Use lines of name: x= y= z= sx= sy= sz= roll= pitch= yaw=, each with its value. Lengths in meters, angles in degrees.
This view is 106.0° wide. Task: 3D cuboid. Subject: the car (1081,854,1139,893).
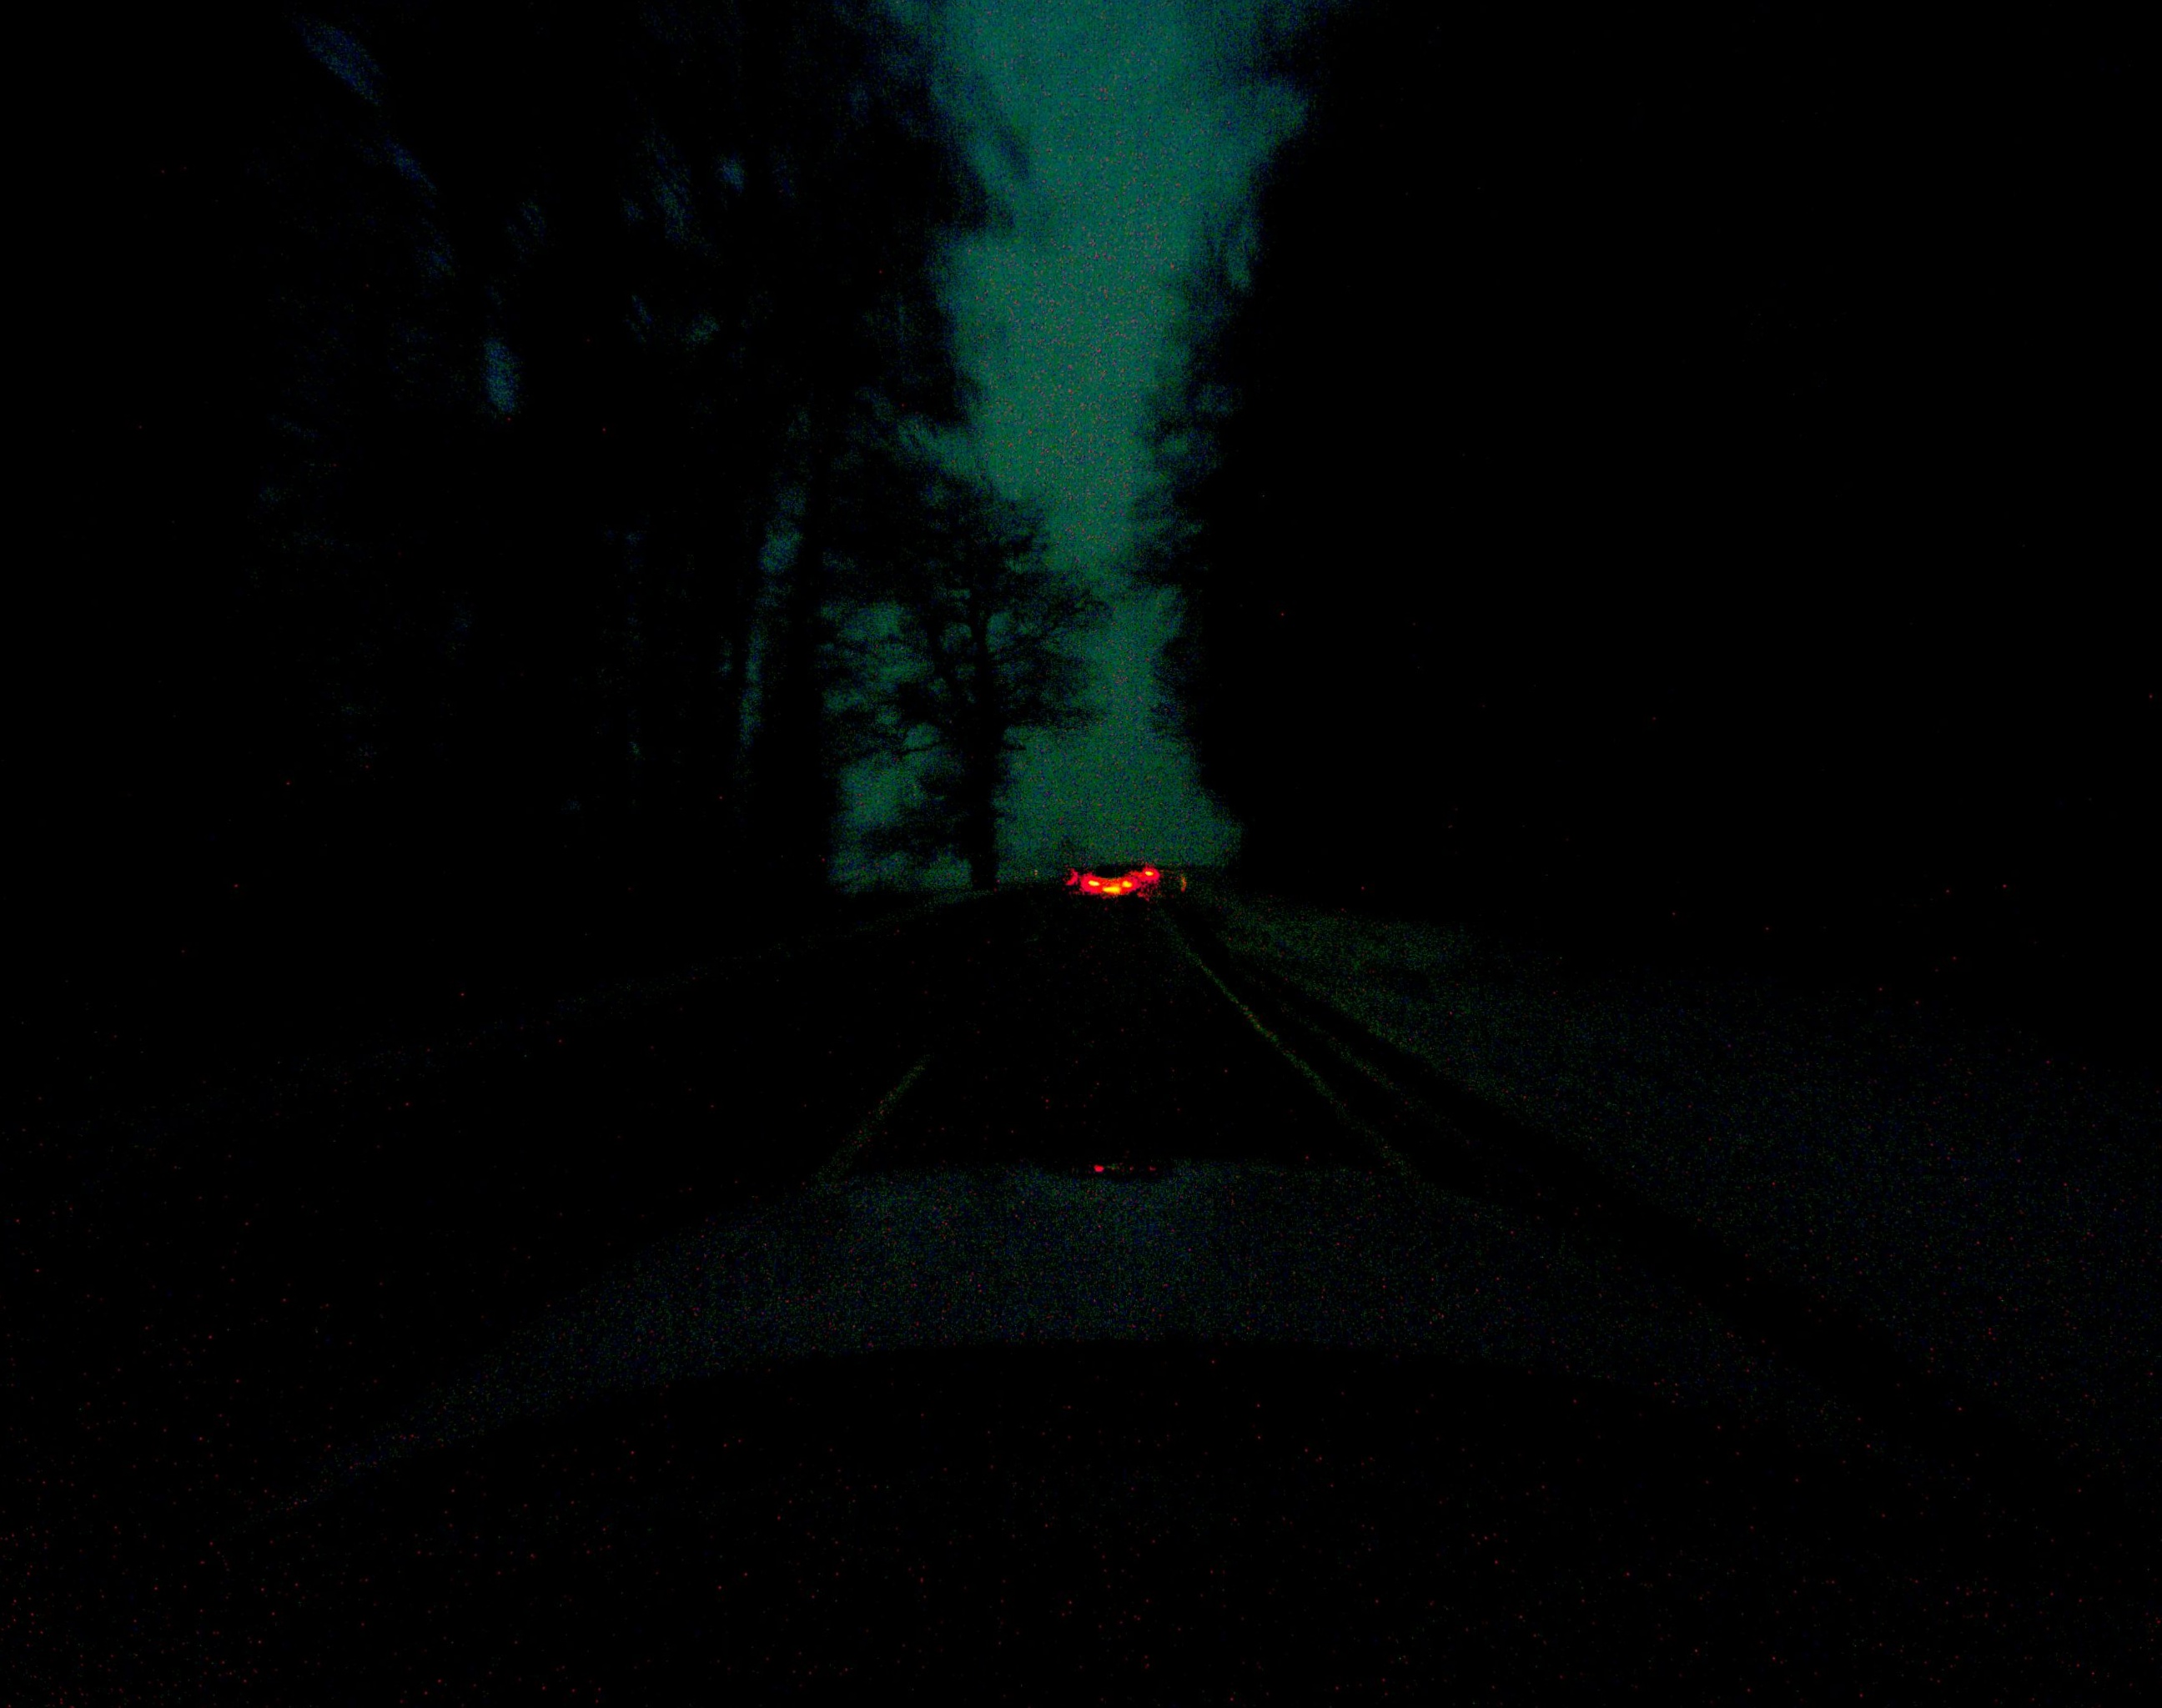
car: x=1.087 y=0.715 z=32.317 sx=1.941 sy=1.381 sz=3.995 roll=-1 pitch=1 yaw=-3

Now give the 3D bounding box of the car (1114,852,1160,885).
car: x=3.187 y=0.802 z=47.163 sx=1.991 sy=1.783 sz=3.992 roll=1 pitch=0 yaw=-6
